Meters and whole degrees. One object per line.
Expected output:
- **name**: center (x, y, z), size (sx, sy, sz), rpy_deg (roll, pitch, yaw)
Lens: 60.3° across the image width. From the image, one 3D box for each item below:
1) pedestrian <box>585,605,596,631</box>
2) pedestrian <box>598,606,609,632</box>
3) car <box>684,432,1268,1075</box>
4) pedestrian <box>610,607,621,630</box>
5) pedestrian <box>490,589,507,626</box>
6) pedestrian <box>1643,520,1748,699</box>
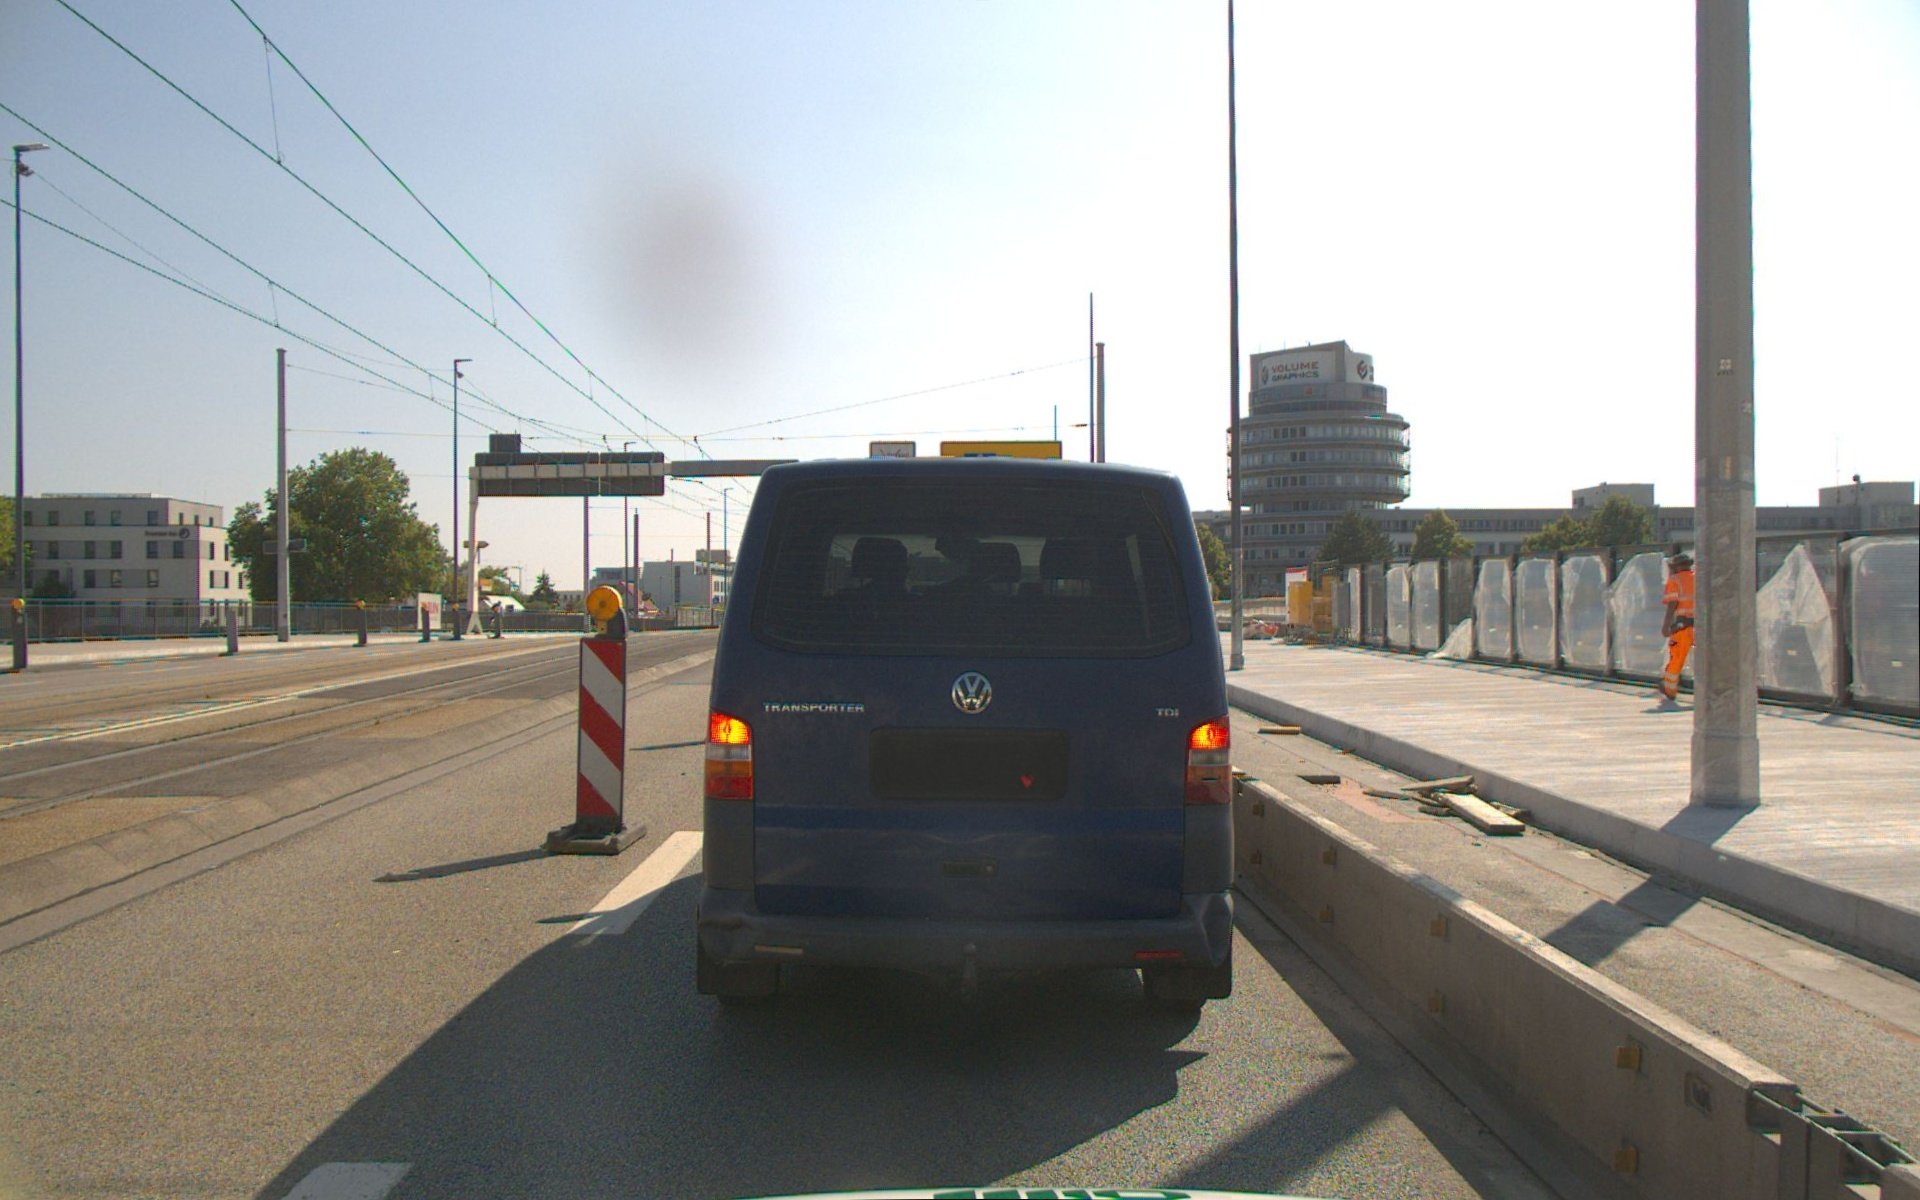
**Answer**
- **pedestrian**: center (-25.650, 1.215, 114.734), size (0.621, 1.783, 0.752), rpy_deg (1, 0, -2)
- **pedestrian**: center (-24.801, 1.315, 114.963), size (0.621, 1.805, 0.752), rpy_deg (0, 0, -1)
- **car**: center (-0.039, 0.449, 7.067), size (1.779, 1.939, 4.052), rpy_deg (0, 0, -3)
- **pedestrian**: center (-24.535, 1.307, 117.877), size (0.621, 1.626, 0.752), rpy_deg (0, 0, -1)
- **pedestrian**: center (-23.845, 0.377, 85.478), size (0.621, 1.926, 0.752), rpy_deg (0, 0, -1)
- **pedestrian**: center (8.330, 0.109, 18.768), size (0.766, 1.969, 0.799), rpy_deg (-2, -1, -1)
